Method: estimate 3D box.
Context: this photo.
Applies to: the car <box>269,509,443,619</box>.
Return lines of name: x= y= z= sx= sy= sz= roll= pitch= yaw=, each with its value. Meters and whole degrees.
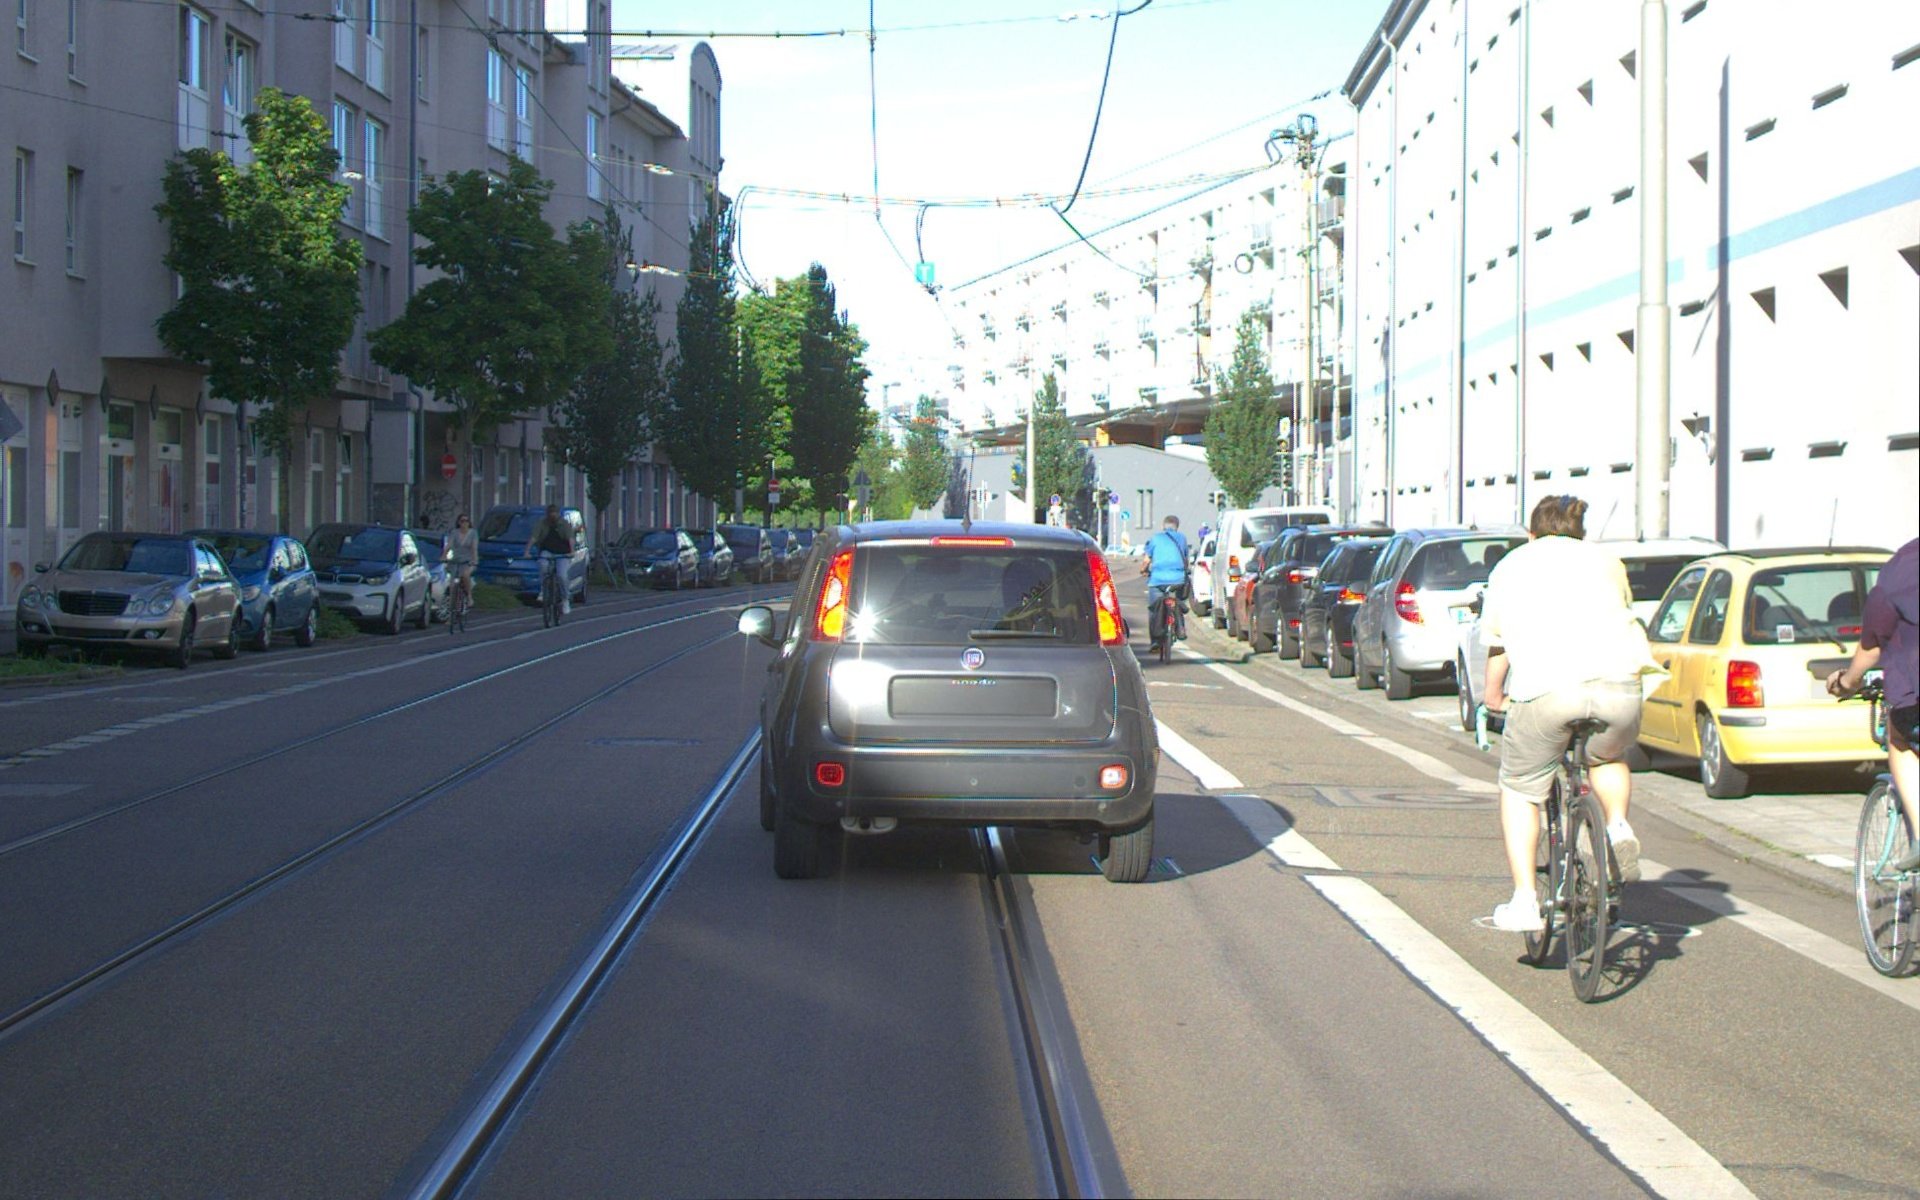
car: x=-9.064 y=-0.571 z=51.865 sx=1.830 sy=1.588 sz=4.000 roll=0 pitch=1 yaw=2

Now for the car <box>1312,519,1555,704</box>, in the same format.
car: x=4.451 y=0.058 z=32.818 sx=1.754 sy=1.565 sz=3.904 roll=-3 pitch=1 yaw=1

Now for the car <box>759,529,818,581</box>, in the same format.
car: x=-5.211 y=-1.392 z=104.677 sx=1.591 sy=1.535 sz=3.191 roll=0 pitch=1 yaw=0

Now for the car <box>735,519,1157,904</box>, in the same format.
car: x=-0.165 y=0.410 z=15.481 sx=1.556 sy=1.527 sz=3.487 roll=0 pitch=1 yaw=-6

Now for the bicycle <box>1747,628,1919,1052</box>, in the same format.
bicycle: x=3.357 y=0.763 z=11.425 sx=0.821 sy=1.232 sz=2.462 roll=2 pitch=1 yaw=-1

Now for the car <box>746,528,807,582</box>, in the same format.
car: x=-5.355 y=-1.323 z=100.404 sx=1.591 sy=1.535 sz=3.191 roll=0 pitch=1 yaw=0

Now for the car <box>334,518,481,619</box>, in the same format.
car: x=-9.073 y=-0.551 z=56.727 sx=1.829 sy=1.588 sz=4.000 roll=0 pitch=1 yaw=-1

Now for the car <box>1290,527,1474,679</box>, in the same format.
car: x=4.646 y=-0.011 z=38.280 sx=1.591 sy=1.532 sz=4.007 roll=-2 pitch=1 yaw=1

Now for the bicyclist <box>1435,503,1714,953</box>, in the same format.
bicyclist: x=2.064 y=0.403 z=11.664 sx=0.727 sy=1.457 sz=1.021 roll=0 pitch=1 yaw=-1

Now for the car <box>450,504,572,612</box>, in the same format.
car: x=-8.581 y=-0.836 z=65.979 sx=1.665 sy=1.980 sz=4.343 roll=0 pitch=1 yaw=1

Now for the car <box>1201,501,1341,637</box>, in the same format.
car: x=4.741 y=-0.509 z=52.897 sx=1.786 sy=1.964 sz=4.155 roll=-1 pitch=1 yaw=1

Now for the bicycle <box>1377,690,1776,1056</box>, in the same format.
bicycle: x=2.031 y=0.860 z=11.787 sx=0.738 sy=0.921 sz=2.837 roll=3 pitch=1 yaw=-1

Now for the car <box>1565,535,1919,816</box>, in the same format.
car: x=4.822 y=0.367 z=20.627 sx=1.513 sy=1.426 sz=4.202 roll=-3 pitch=1 yaw=-1

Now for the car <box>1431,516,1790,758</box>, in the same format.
car: x=4.615 y=0.189 z=25.005 sx=1.679 sy=1.565 sz=4.510 roll=-1 pitch=1 yaw=-1

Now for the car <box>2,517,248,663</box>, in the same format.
car: x=-9.159 y=-0.154 z=37.998 sx=1.744 sy=1.438 sz=4.000 roll=3 pitch=1 yaw=-1

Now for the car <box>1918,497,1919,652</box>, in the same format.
car: x=4.987 y=0.442 z=11.970 sx=1.754 sy=1.660 sz=4.627 roll=-1 pitch=1 yaw=-3

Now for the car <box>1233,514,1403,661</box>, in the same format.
car: x=4.443 y=-0.197 z=43.181 sx=1.660 sy=1.664 sz=3.904 roll=-3 pitch=1 yaw=0

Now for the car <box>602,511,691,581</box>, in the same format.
car: x=-7.451 y=-1.294 z=81.900 sx=1.665 sy=1.612 sz=4.000 roll=0 pitch=1 yaw=1

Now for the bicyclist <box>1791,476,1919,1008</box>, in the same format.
bicyclist: x=3.332 y=0.437 z=11.283 sx=0.934 sy=1.670 sz=0.970 roll=0 pitch=1 yaw=-1

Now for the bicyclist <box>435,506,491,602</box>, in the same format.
bicyclist: x=-7.418 y=-0.693 z=51.332 sx=0.623 sy=1.375 sz=0.868 roll=-4 pitch=1 yaw=0

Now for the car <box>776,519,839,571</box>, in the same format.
car: x=-4.880 y=-1.786 z=110.514 sx=1.844 sy=1.640 sz=3.698 roll=0 pitch=1 yaw=0

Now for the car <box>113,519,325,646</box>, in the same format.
car: x=-9.342 y=-0.259 z=43.619 sx=1.829 sy=1.484 sz=4.000 roll=-2 pitch=2 yaw=-1

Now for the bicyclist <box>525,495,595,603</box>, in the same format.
bicyclist: x=-5.992 y=-0.767 z=51.514 sx=0.881 sy=1.556 sz=0.868 roll=-3 pitch=1 yaw=0

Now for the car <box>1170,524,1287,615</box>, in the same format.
car: x=4.983 y=-0.601 z=64.262 sx=1.844 sy=1.640 sz=4.549 roll=0 pitch=1 yaw=0
